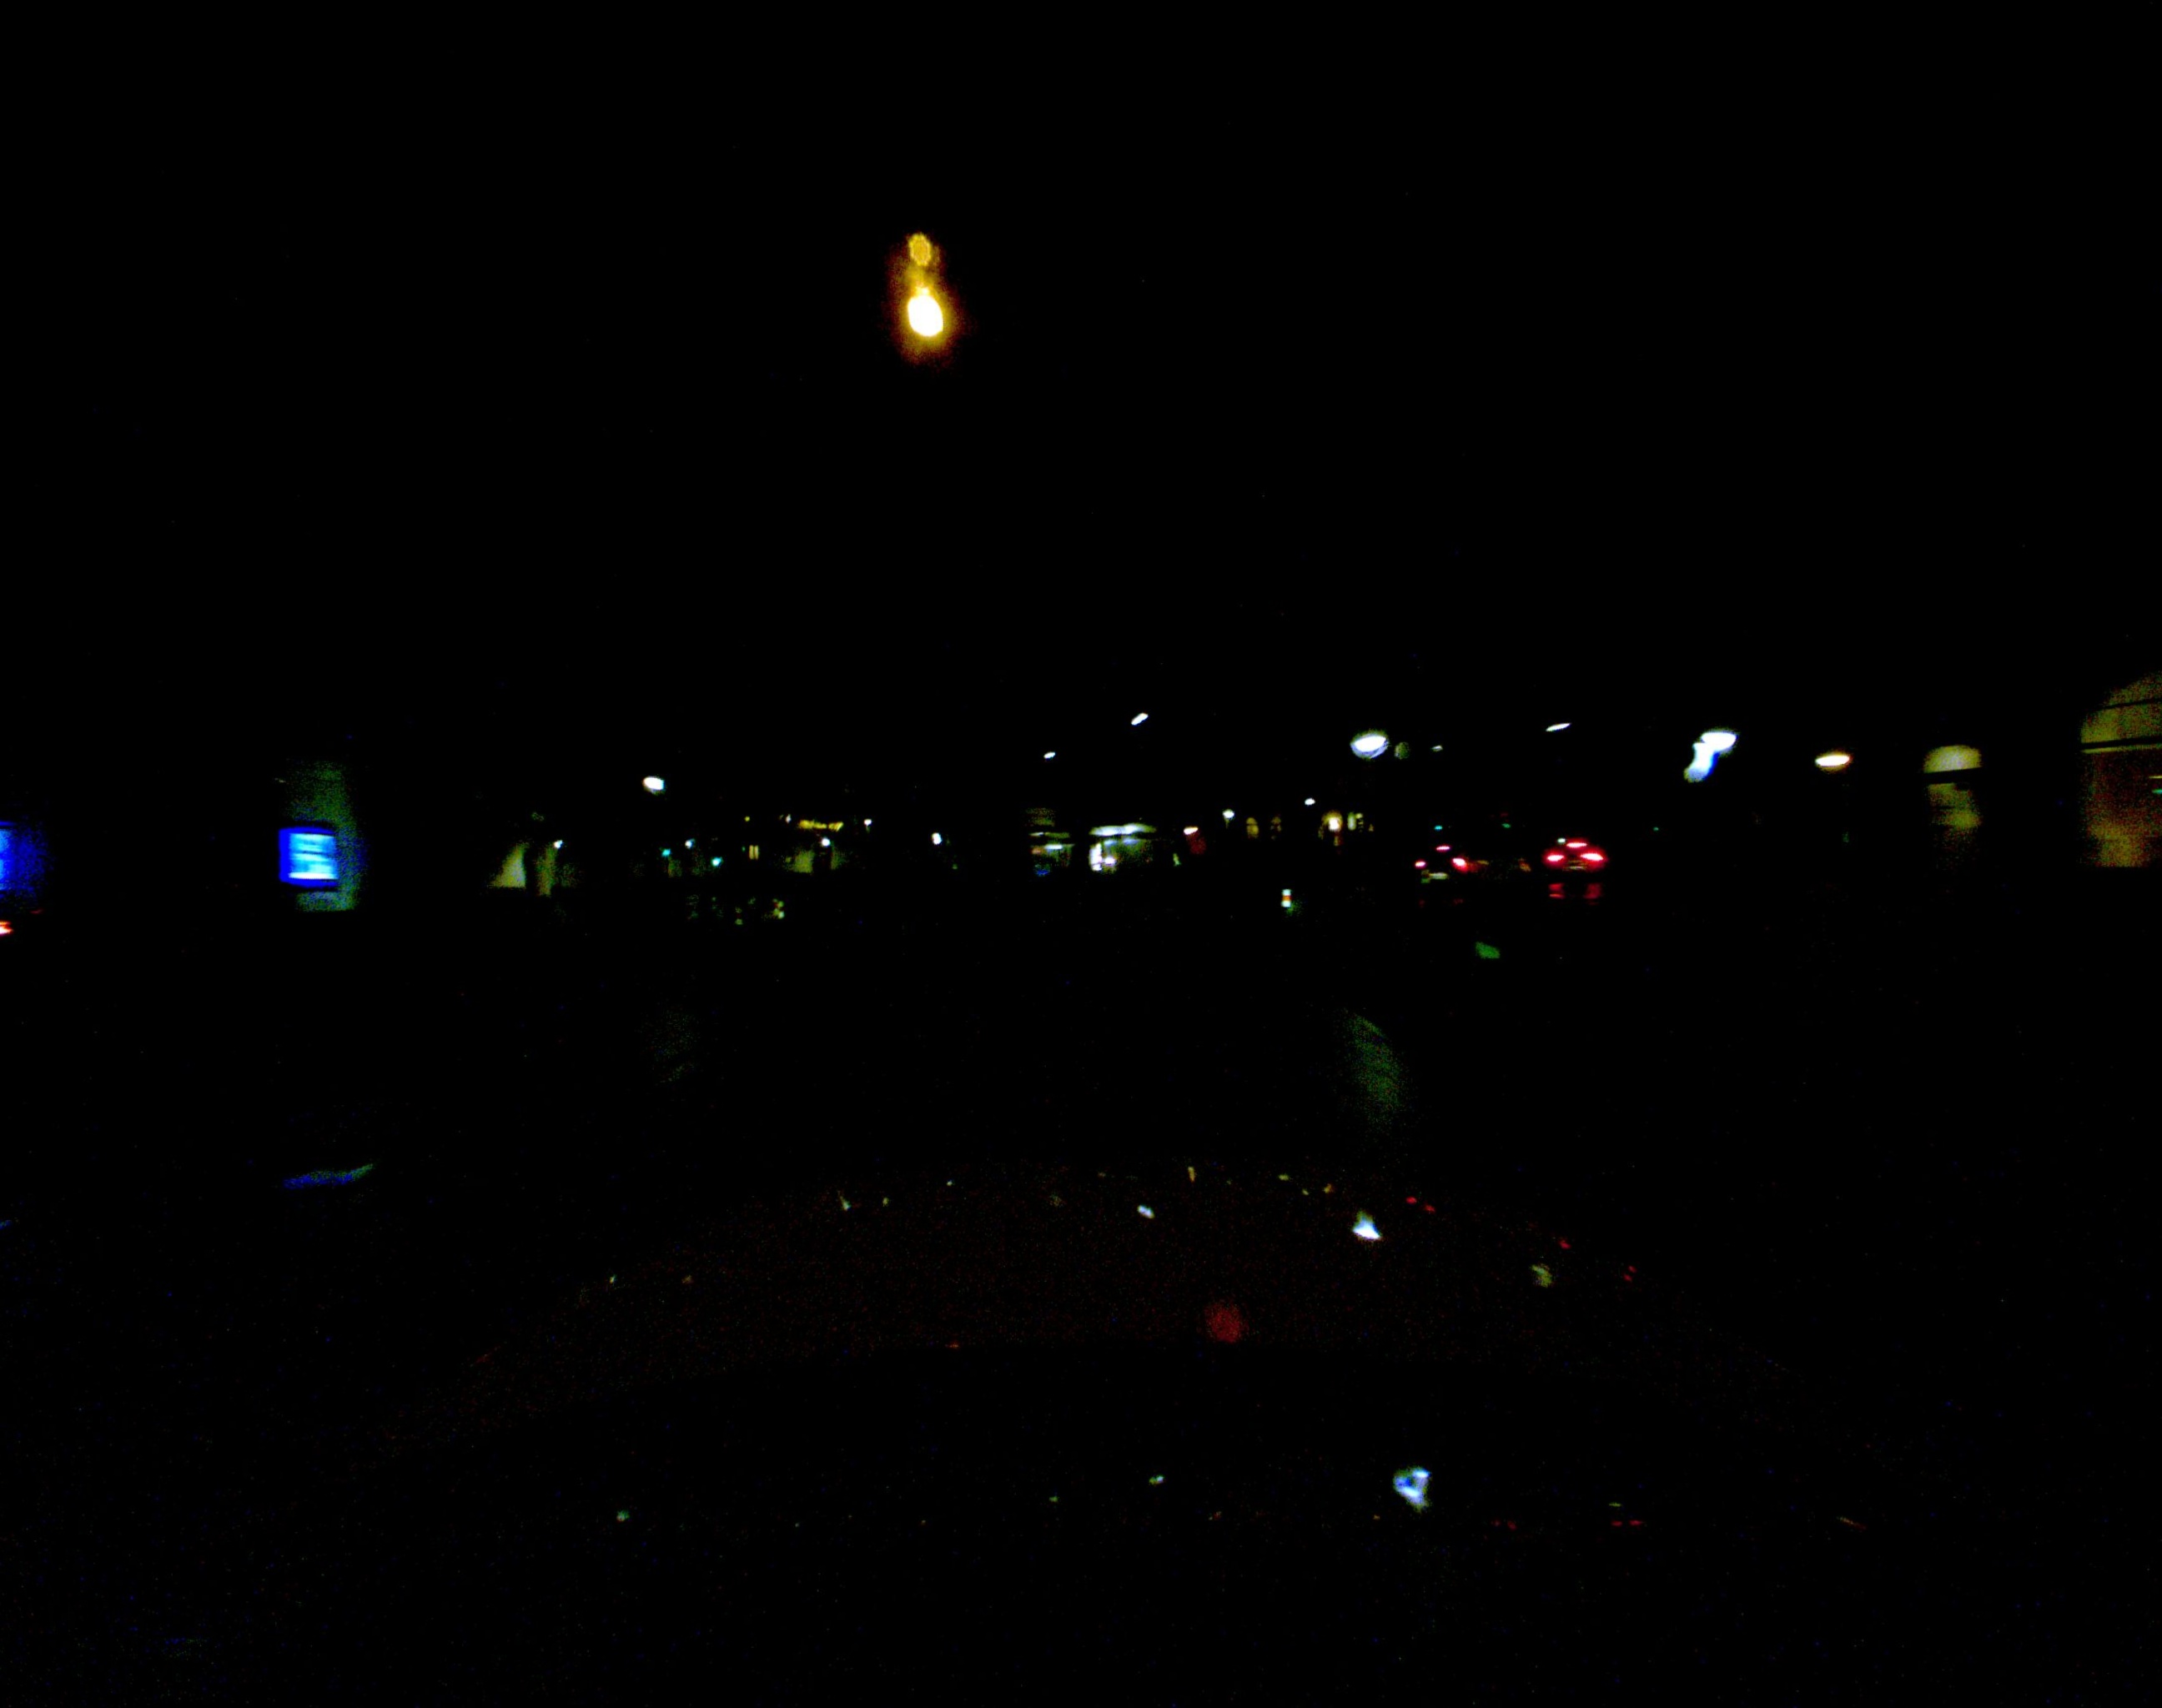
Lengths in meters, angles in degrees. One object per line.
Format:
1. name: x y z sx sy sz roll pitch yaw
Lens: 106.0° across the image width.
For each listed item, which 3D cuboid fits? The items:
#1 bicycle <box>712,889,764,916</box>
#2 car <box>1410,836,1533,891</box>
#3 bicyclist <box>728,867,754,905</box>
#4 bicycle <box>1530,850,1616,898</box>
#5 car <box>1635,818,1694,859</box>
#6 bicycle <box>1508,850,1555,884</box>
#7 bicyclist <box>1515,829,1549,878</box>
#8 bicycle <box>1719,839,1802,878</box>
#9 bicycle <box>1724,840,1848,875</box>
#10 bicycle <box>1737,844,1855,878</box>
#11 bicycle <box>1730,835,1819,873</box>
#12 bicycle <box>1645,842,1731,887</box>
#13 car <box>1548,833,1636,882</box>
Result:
1. bicycle: -12.908 1.822 30.691 1.786 0.931 0.496 0 -1 -23
2. car: 12.093 0.288 25.223 3.470 1.613 1.721 0 -1 -28
3. bicyclist: -12.825 1.195 30.727 0.895 1.380 0.501 1 -1 -23
4. bicycle: 11.401 0.458 18.914 0.452 1.059 1.646 -2 0 -33
5. car: 26.472 -0.651 37.047 1.974 1.728 4.025 0 -1 33
6. bicycle: 15.693 0.448 28.342 1.723 1.149 0.768 1 -1 -35
7. bicyclist: 15.693 -0.024 28.345 0.710 1.675 0.791 1 -1 -35
8. bicycle: 19.187 0.129 23.042 0.452 1.059 1.718 -2 0 -33
9. bicycle: 21.475 0.123 24.880 0.728 1.026 2.744 -2 0 -37
10. bicycle: 22.902 0.249 26.157 0.728 1.026 2.744 -2 0 -37
11. bicycle: 20.309 0.006 23.882 0.453 1.059 1.915 -2 0 -38
12. bicycle: 15.099 0.270 20.298 0.452 1.059 1.646 -2 0 -33
13. car: 19.284 0.144 30.662 1.975 1.728 4.023 0 -1 45
